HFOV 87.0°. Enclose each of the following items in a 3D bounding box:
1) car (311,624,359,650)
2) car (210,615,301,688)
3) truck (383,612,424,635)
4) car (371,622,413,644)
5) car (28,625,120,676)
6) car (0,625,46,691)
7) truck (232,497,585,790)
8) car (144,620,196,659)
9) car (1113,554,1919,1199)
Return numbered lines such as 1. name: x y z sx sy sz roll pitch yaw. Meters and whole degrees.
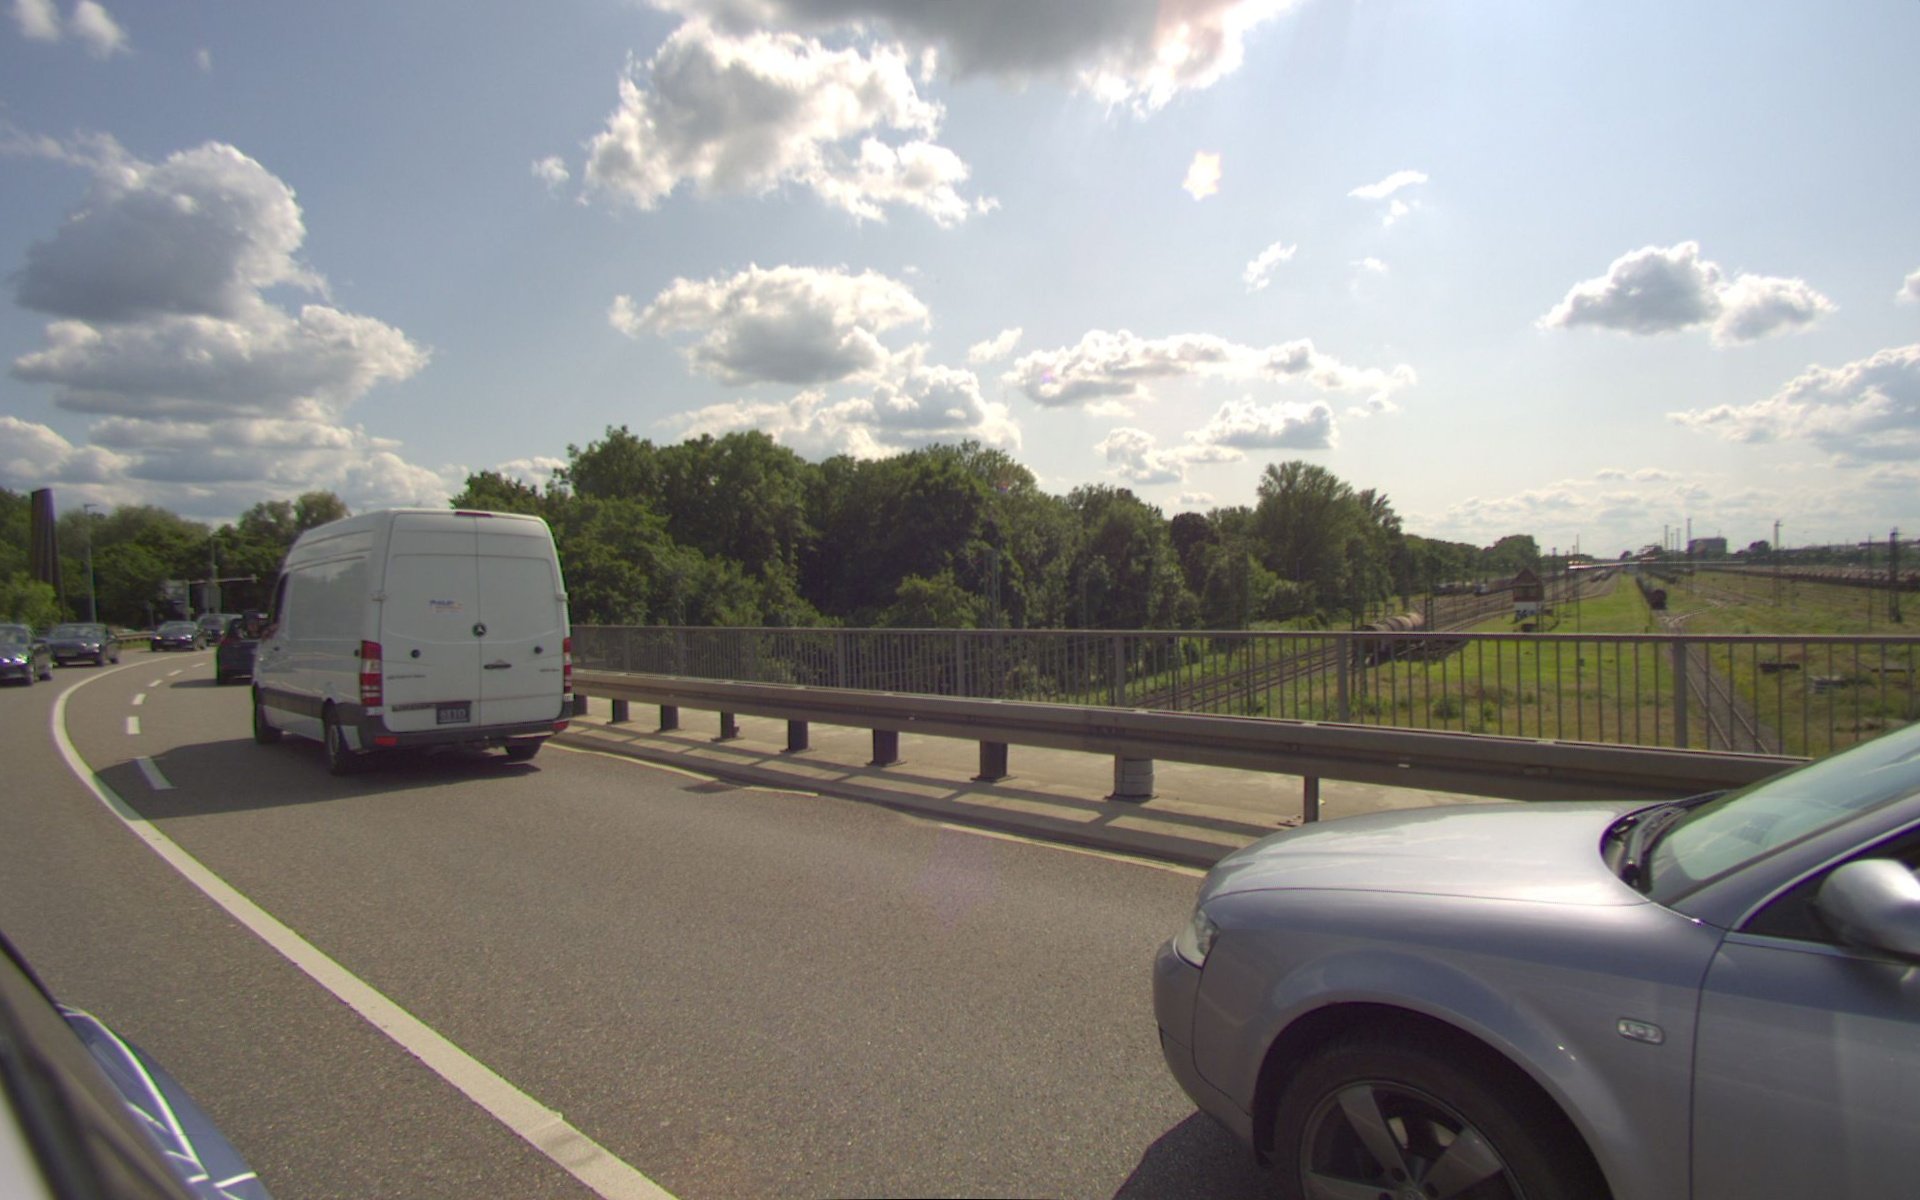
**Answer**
1. car: -35.763 2.081 57.998 1.769 1.385 4.595 0 -1 -25
2. car: -17.429 1.192 25.010 1.694 1.644 4.438 1 -1 -36
3. truck: -49.008 2.029 89.180 1.933 1.927 5.385 0 -1 -15
4. car: -40.642 2.348 72.522 1.723 1.460 4.350 0 -1 -17
5. car: -29.722 1.638 34.080 1.793 1.347 4.741 -4 2 -35
6. car: -22.976 1.328 23.766 1.829 1.373 4.009 1 0 -36
7. truck: -6.540 0.437 11.555 1.970 2.527 5.951 1 -2 -45
8. car: -38.784 1.908 49.754 1.611 1.524 3.731 -3 4 -33
9. car: 2.505 0.682 1.450 4.297 1.471 1.747 -1 -2 43
